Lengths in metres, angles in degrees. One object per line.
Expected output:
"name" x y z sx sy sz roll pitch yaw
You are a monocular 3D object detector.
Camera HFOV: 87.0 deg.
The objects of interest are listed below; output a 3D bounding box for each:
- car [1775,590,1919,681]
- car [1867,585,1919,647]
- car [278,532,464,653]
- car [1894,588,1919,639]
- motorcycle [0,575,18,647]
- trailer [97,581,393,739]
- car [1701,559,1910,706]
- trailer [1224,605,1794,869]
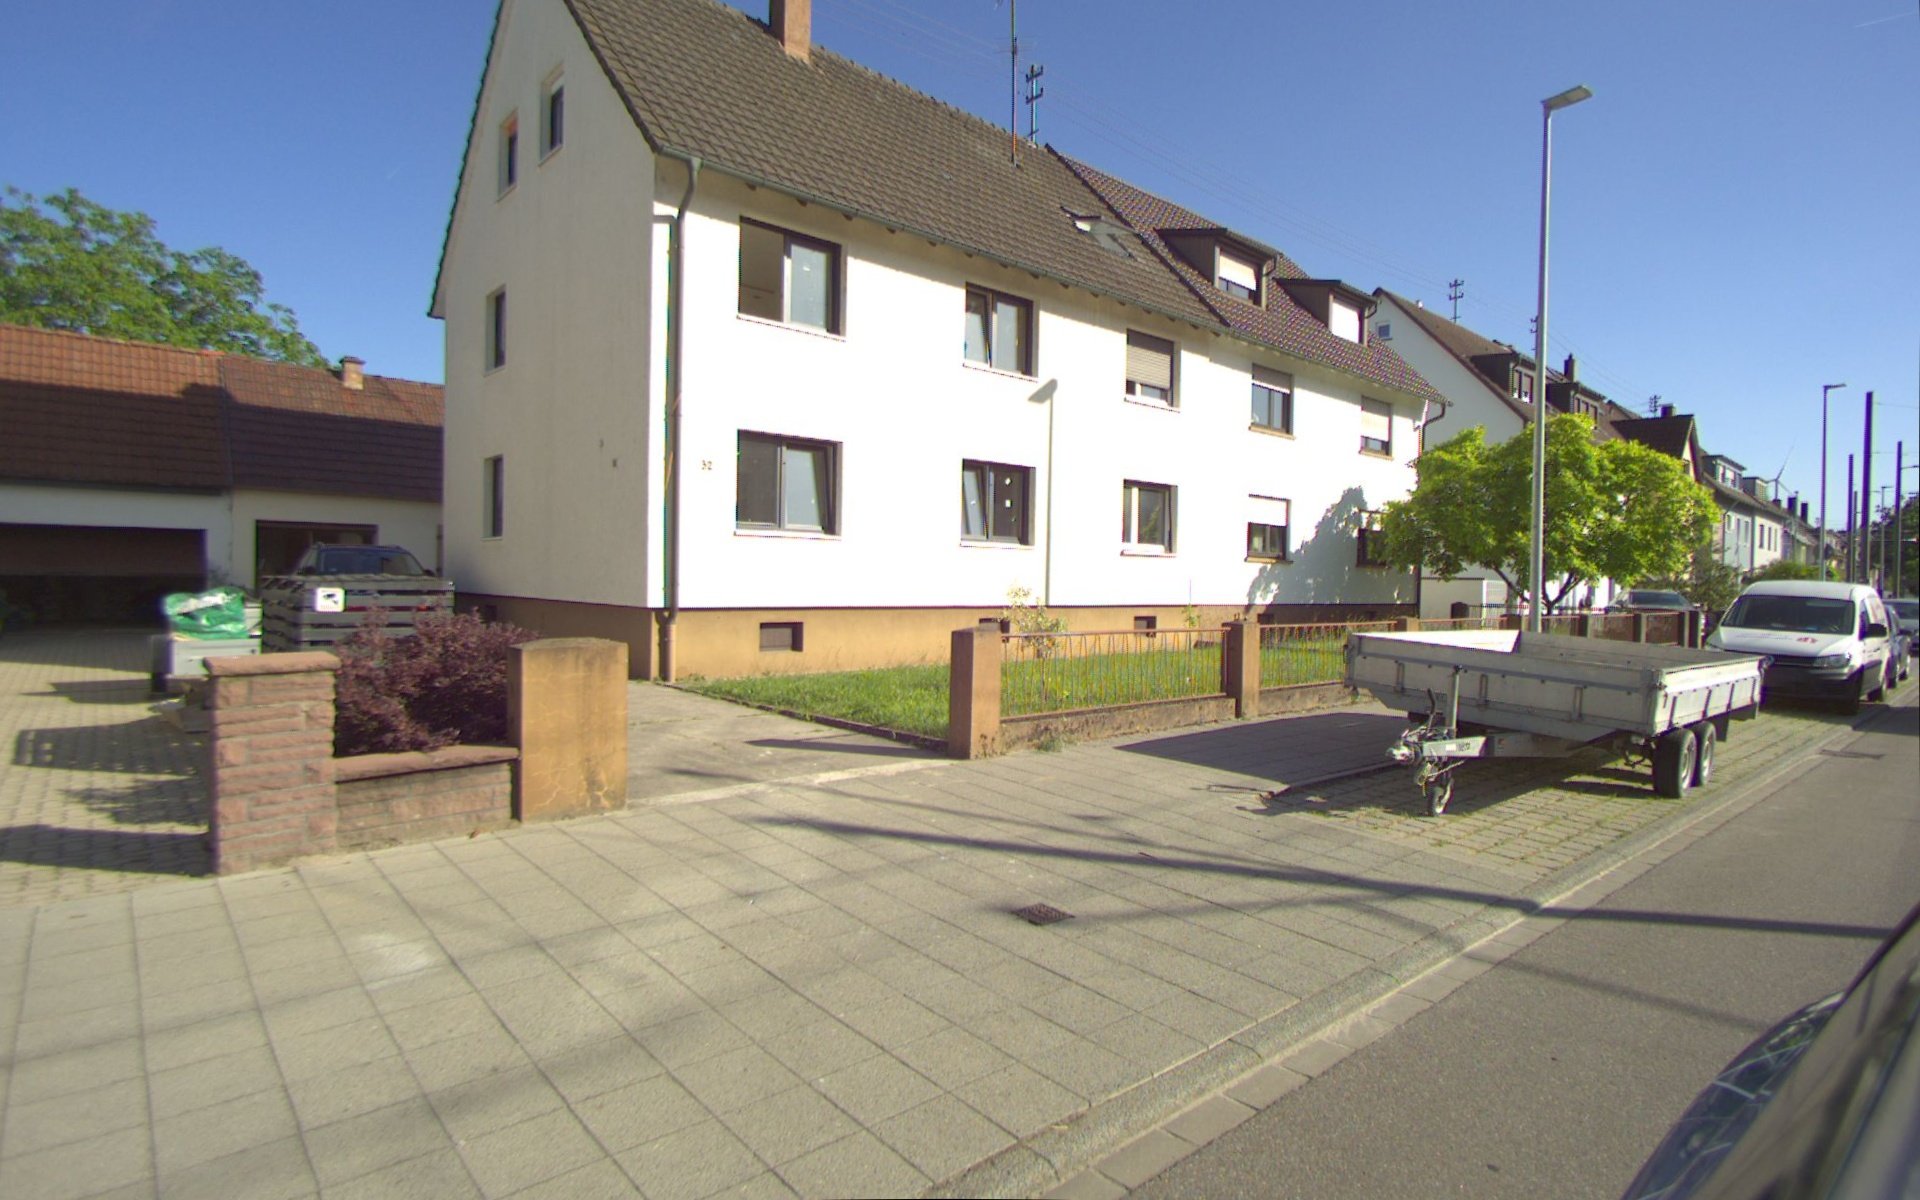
"car" 17.114 0.579 19.227 4.365 1.488 1.826 0 2 -42
"car" 25.661 0.409 27.066 4.317 1.498 1.680 -1 4 -44
"car" -9.454 -0.167 16.090 1.874 1.660 3.995 0 2 -41
"car" 30.177 0.416 31.234 4.407 1.486 1.630 0 4 -44
"motorcycle" -15.838 0.136 15.874 1.941 1.104 0.709 2 1 18
"trailer" -7.694 0.431 10.784 2.096 1.170 5.133 -1 2 -39
"car" 12.633 0.378 15.013 4.508 1.784 1.794 0 4 -44
"trailer" 4.871 0.728 8.268 6.330 1.144 2.275 0 4 -44
